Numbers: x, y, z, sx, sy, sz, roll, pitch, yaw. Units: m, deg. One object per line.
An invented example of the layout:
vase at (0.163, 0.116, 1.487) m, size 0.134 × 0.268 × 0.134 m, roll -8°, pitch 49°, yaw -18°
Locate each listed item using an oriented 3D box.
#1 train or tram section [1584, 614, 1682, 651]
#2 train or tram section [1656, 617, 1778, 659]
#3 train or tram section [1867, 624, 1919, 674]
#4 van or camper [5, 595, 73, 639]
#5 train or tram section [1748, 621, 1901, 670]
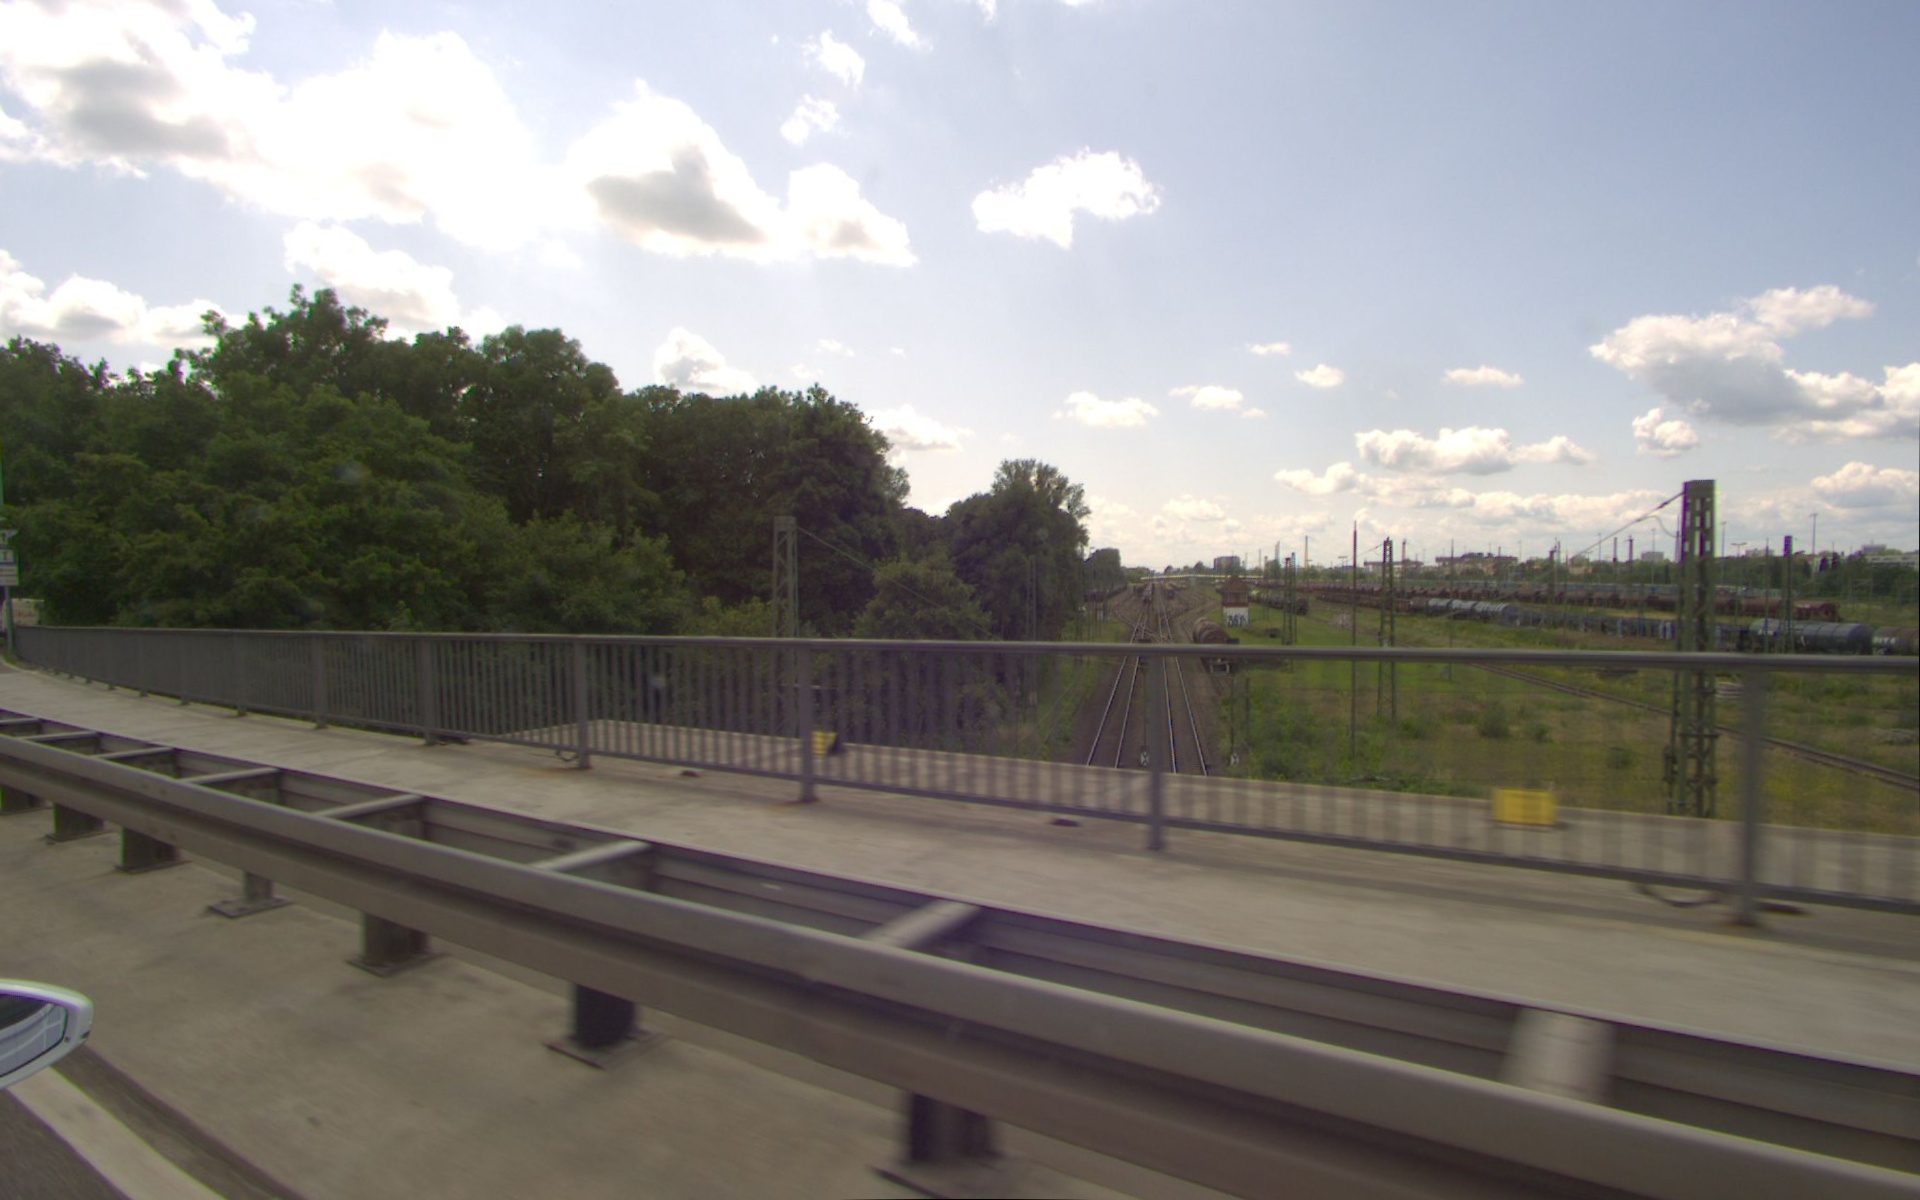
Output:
train or tram section at (92.636, 4.369, 138.384) m, size 3.150 × 4.208 × 15.961 m, roll -3°, pitch 0°, yaw 2°
train or tram section at (92.067, 4.477, 122.389) m, size 3.150 × 4.208 × 15.961 m, roll -3°, pitch 0°, yaw 2°
train or tram section at (90.164, 4.638, 90.356) m, size 3.151 × 4.208 × 15.960 m, roll -3°, pitch 0°, yaw 5°
van or camper at (-57.931, 1.069, 63.073) m, size 1.969 × 2.624 × 4.073 m, roll 1°, pitch -1°, yaw -26°
train or tram section at (91.250, 4.642, 106.382) m, size 3.151 × 4.208 × 15.961 m, roll -3°, pitch 0°, yaw 3°
